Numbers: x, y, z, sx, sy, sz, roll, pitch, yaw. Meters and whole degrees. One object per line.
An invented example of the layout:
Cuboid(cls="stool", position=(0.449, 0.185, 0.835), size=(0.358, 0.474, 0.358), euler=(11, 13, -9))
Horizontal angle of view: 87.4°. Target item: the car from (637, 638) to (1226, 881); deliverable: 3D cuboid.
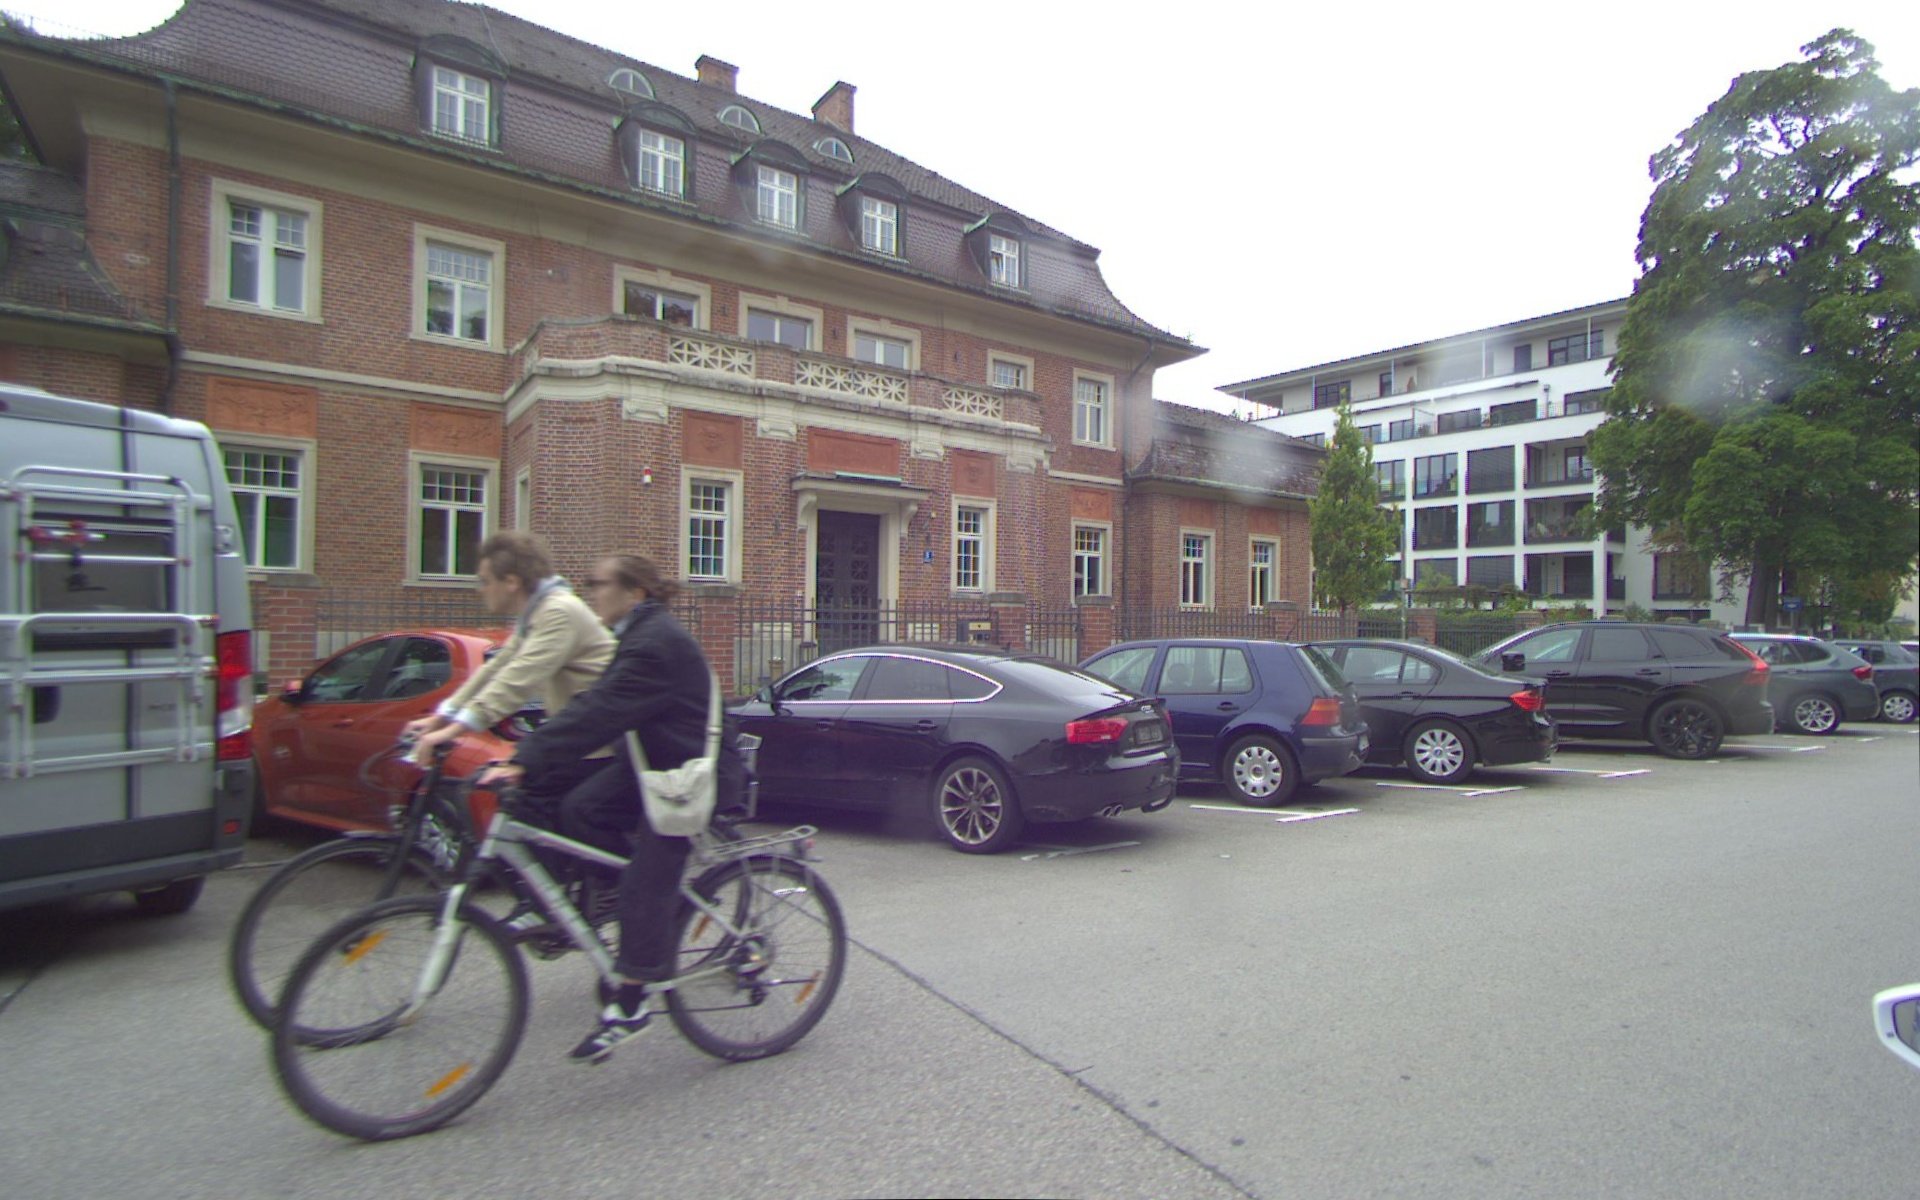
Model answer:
Cuboid(cls="car", position=(-0.348, 1.069, 8.139), size=(4.450, 1.470, 1.973), euler=(-2, -3, 33))

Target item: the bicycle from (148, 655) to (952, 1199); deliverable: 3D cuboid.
Cuboid(cls="bicycle", position=(-1.106, 0.848, 3.127), size=(2.093, 1.323, 0.703), euler=(1, -2, -30))

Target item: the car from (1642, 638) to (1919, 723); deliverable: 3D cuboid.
Cuboid(cls="car", position=(15.658, 1.465, 19.064), size=(4.316, 1.470, 1.654), euler=(-1, -2, 29))

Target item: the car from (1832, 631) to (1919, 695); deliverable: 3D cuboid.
Cuboid(cls="car", position=(27.169, 1.729, 27.597), size=(4.324, 1.721, 2.138), euler=(0, -2, 17))

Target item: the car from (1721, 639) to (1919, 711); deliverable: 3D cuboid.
Cuboid(cls="car", position=(20.051, 1.663, 22.473), size=(4.433, 1.529, 1.930), euler=(-3, -4, 26))

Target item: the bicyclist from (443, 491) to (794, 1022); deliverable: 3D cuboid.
Cuboid(cls="bicyclist", position=(-1.076, 0.419, 3.132), size=(0.919, 1.370, 0.693), euler=(1, -2, -29))

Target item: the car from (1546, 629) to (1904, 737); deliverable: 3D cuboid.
Cuboid(cls="car", position=(12.348, 1.281, 16.660), size=(4.444, 1.588, 1.887), euler=(-1, -2, 28))

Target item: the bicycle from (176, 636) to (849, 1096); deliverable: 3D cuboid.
Cuboid(cls="bicycle", position=(-1.519, 0.799, 3.741), size=(2.093, 1.323, 0.704), euler=(1, -2, -30))

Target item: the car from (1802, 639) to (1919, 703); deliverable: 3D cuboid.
Cuboid(cls="car", position=(23.033, 1.677, 23.758), size=(4.325, 1.458, 1.966), euler=(0, -2, 19))

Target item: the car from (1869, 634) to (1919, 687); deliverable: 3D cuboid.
Cuboid(cls="car", position=(31.955, 1.922, 31.769), size=(4.332, 1.642, 2.084), euler=(-1, -3, 29))

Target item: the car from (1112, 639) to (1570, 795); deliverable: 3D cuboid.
Cuboid(cls="car", position=(4.140, 1.195, 11.205), size=(4.447, 1.436, 1.924), euler=(-2, -3, 30))

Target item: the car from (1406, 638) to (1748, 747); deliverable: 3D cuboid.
Cuboid(cls="car", position=(9.404, 1.389, 15.643), size=(4.255, 1.490, 1.816), euler=(-3, -3, 31))

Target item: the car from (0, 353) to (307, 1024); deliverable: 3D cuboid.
Cuboid(cls="car", position=(-5.584, 0.406, 5.209), size=(4.563, 2.597, 2.226), euler=(-2, -3, 37))

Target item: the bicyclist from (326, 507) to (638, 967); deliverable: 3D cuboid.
Cuboid(cls="bicyclist", position=(-1.715, 0.438, 3.636), size=(0.919, 1.416, 0.693), euler=(1, -2, -29))

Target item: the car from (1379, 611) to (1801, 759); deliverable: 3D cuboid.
Cuboid(cls="car", position=(8.145, 1.087, 13.461), size=(4.447, 1.686, 1.984), euler=(-2, -4, 30))

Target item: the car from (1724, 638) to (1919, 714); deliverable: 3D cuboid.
Cuboid(cls="car", position=(18.631, 1.514, 20.544), size=(4.432, 1.470, 1.895), euler=(-1, -3, 26))

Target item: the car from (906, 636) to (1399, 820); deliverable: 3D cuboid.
Cuboid(cls="car", position=(1.821, 1.135, 9.953), size=(4.447, 1.470, 1.817), euler=(-2, -3, 30))

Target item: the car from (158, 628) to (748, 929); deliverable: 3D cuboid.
Cuboid(cls="car", position=(-3.815, 0.993, 7.295), size=(4.452, 1.537, 1.932), euler=(-1, -2, 35))
